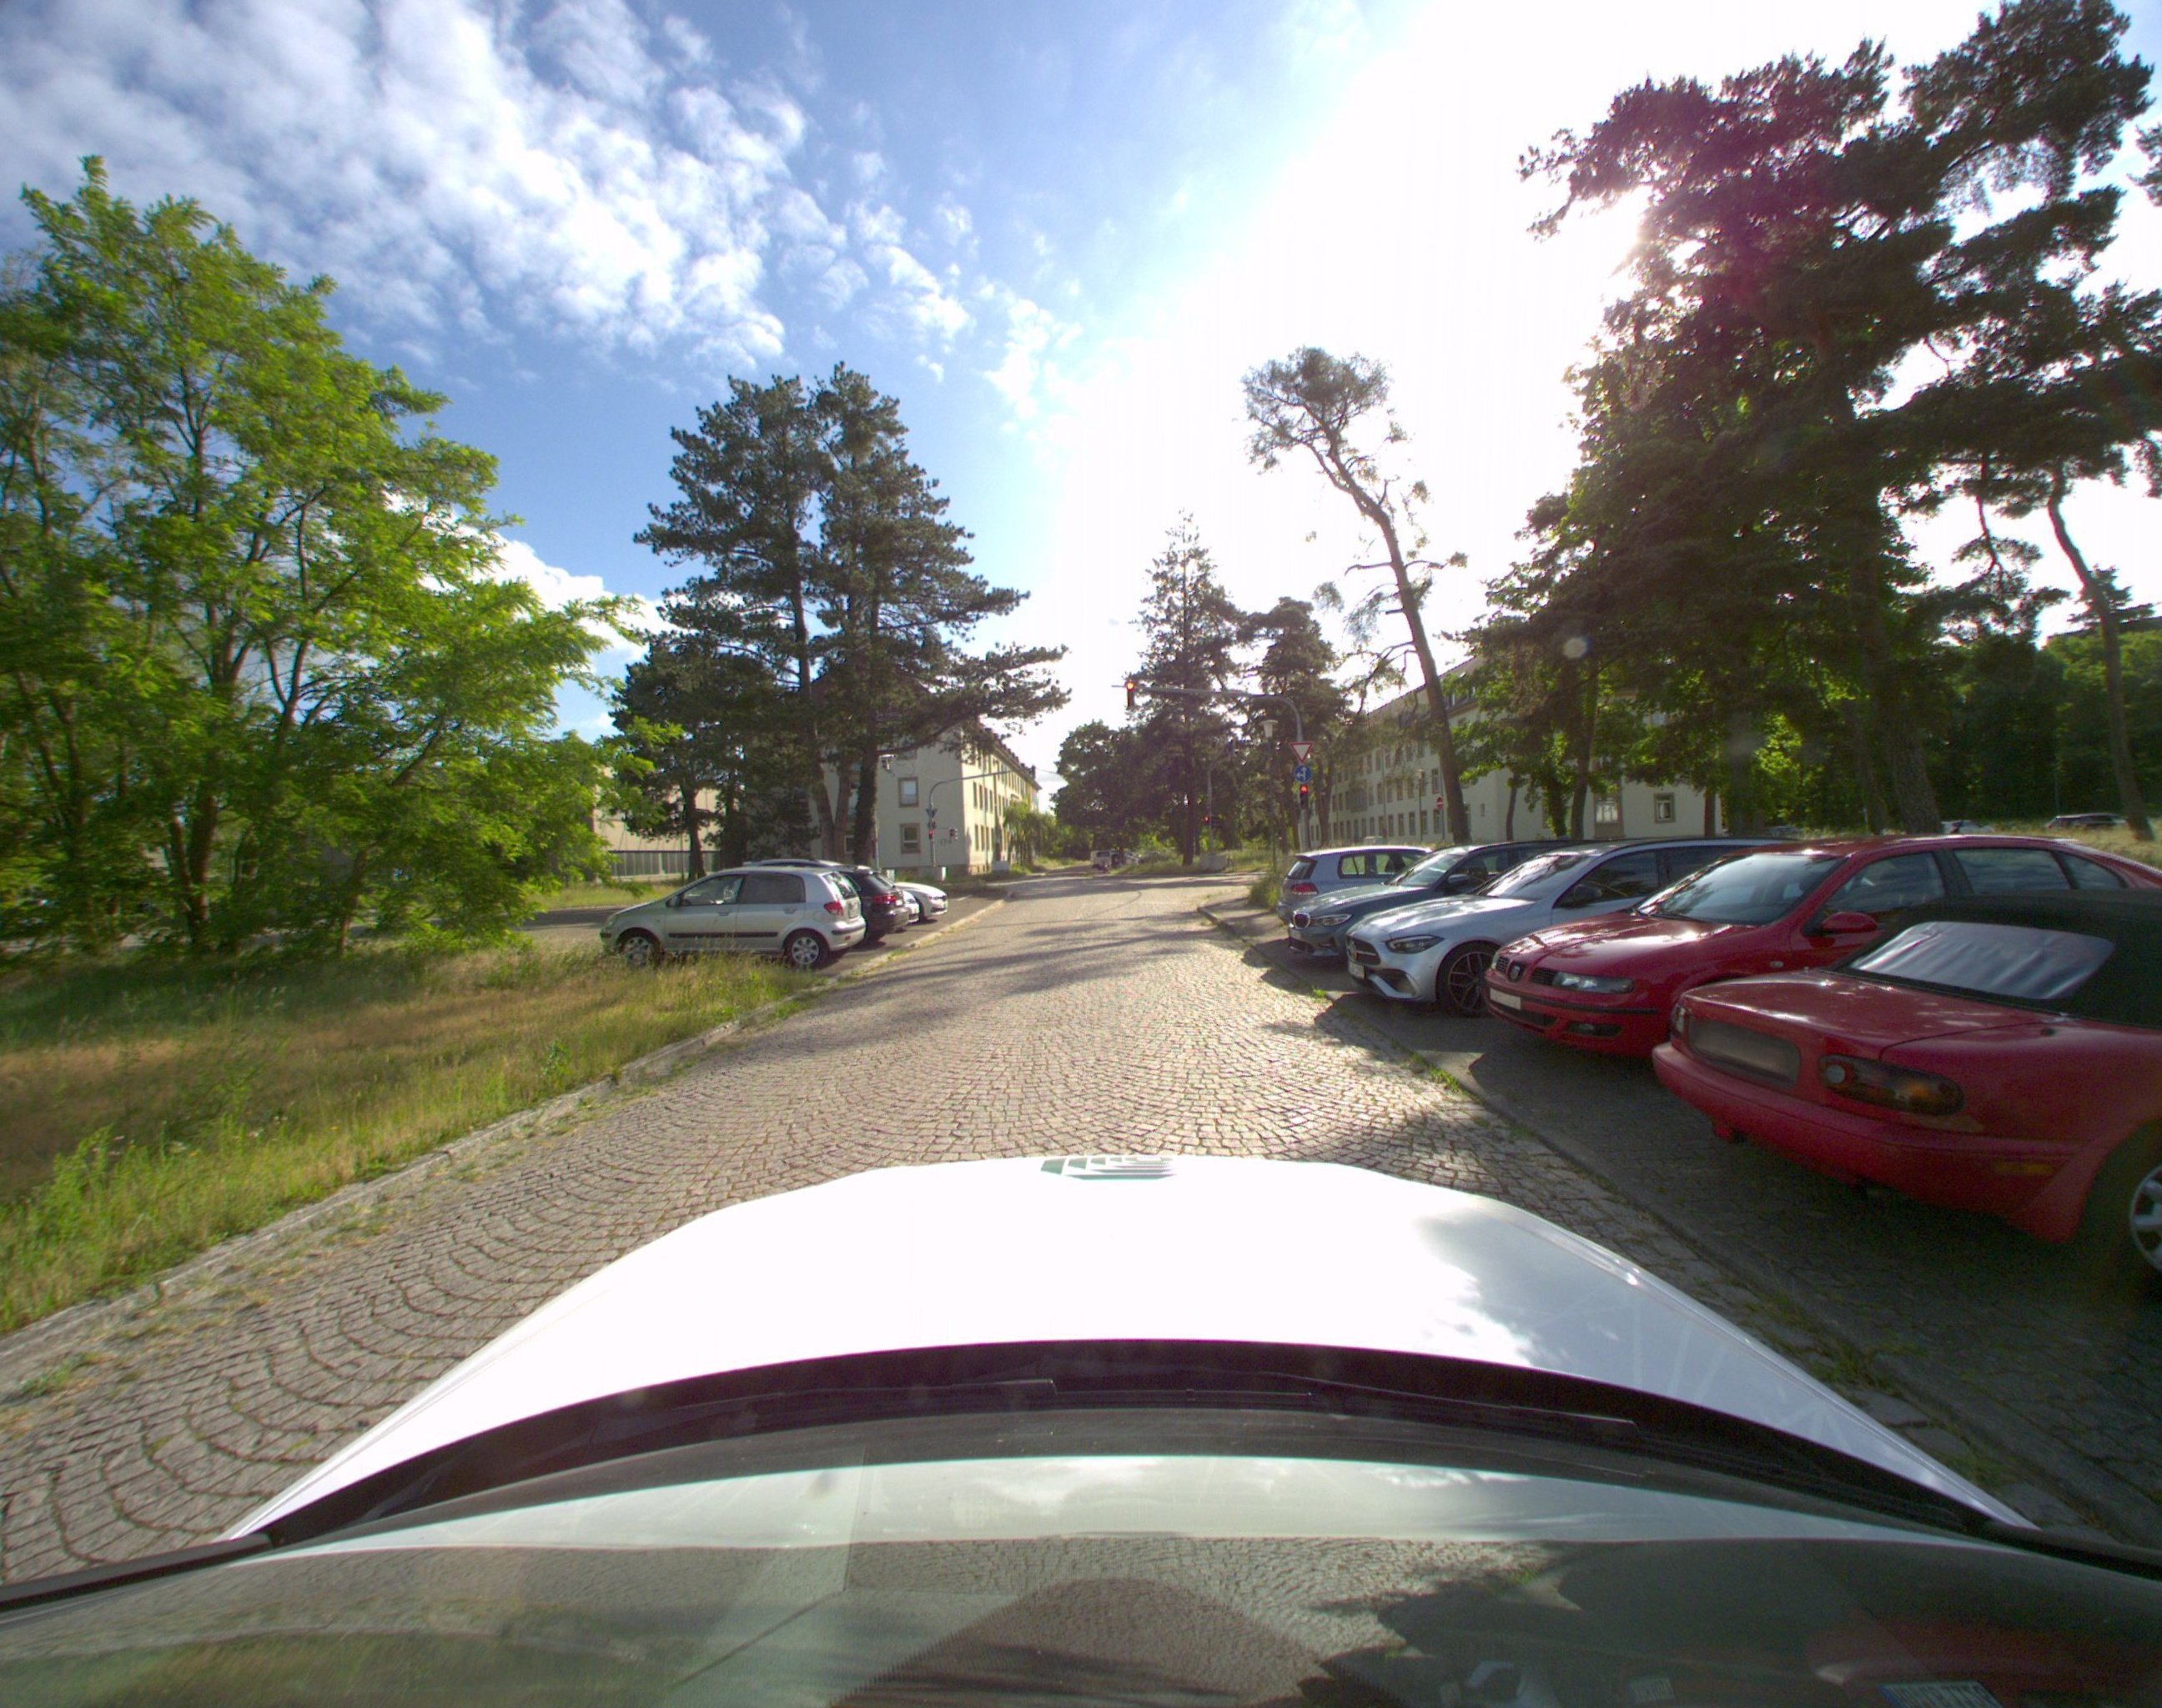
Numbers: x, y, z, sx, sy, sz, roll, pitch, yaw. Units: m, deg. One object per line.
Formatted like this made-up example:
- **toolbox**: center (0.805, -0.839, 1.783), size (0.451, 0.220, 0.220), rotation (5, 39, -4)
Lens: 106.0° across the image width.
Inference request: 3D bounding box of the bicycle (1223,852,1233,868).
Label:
- **bicycle**: center (9.021, 0.357, 50.031), size (0.300, 0.961, 1.585), rotation (0, -1, -1)

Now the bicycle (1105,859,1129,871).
- **bicycle**: center (2.909, 0.898, 65.753), size (1.835, 1.010, 0.634), rotation (0, -1, -6)

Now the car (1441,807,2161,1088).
- **car**: center (4.965, 0.551, 5.690), size (4.111, 1.449, 1.637), rotation (-4, 0, 2)

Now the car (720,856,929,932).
- **car**: center (-5.619, 0.845, 18.227), size (4.069, 1.593, 1.884), rotation (0, 0, -2)

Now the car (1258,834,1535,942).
- **car**: center (5.014, 0.524, 13.328), size (3.867, 1.415, 1.638), rotation (-4, 0, 2)

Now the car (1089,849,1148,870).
- **car**: center (3.703, 0.569, 80.300), size (5.533, 2.014, 1.989), rotation (0, -1, -17)

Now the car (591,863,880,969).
- **car**: center (-5.191, 0.908, 12.605), size (3.736, 1.487, 1.645), rotation (0, 0, -2)

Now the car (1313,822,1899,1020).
- **car**: center (4.706, 0.570, 7.835), size (4.415, 1.415, 1.782), rotation (-4, 0, 2)

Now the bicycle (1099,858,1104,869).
- **bicycle**: center (1.776, 0.837, 71.994), size (0.415, 1.010, 1.484), rotation (0, -1, 3)

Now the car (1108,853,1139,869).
- **car**: center (4.022, 0.658, 76.742), size (2.775, 1.467, 1.669), rotation (0, -1, -3)

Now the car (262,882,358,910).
- **car**: center (-46.829, 2.526, 49.574), size (1.895, 1.433, 4.002), rotation (-2, -1, 3)

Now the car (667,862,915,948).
- **car**: center (-5.289, 0.907, 15.256), size (3.976, 1.480, 1.802), rotation (0, 0, -2)

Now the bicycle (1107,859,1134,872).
- **bicycle**: center (3.101, 0.880, 63.991), size (2.002, 1.010, 0.631), rotation (0, -1, -6)

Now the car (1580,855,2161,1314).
- **car**: center (4.463, 0.696, 3.355), size (3.693, 1.223, 1.747), rotation (-4, 0, 2)

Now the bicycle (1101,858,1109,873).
- **bicycle**: center (1.751, 0.834, 58.689), size (0.466, 1.010, 1.585), rotation (0, -1, -2)

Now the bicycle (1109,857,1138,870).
- **bicycle**: center (3.257, 0.746, 62.282), size (2.106, 1.010, 0.619), rotation (0, -1, -6)

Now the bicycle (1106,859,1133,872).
- **bicycle**: center (3.056, 0.889, 64.876), size (2.025, 1.010, 0.626), rotation (0, -1, -6)

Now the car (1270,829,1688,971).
- **car**: center (4.930, 0.549, 10.547), size (4.542, 1.415, 1.637), rotation (-4, 0, 2)

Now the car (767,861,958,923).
- **car**: center (-5.416, 0.924, 20.597), size (4.321, 1.468, 1.830), rotation (0, 0, -2)
